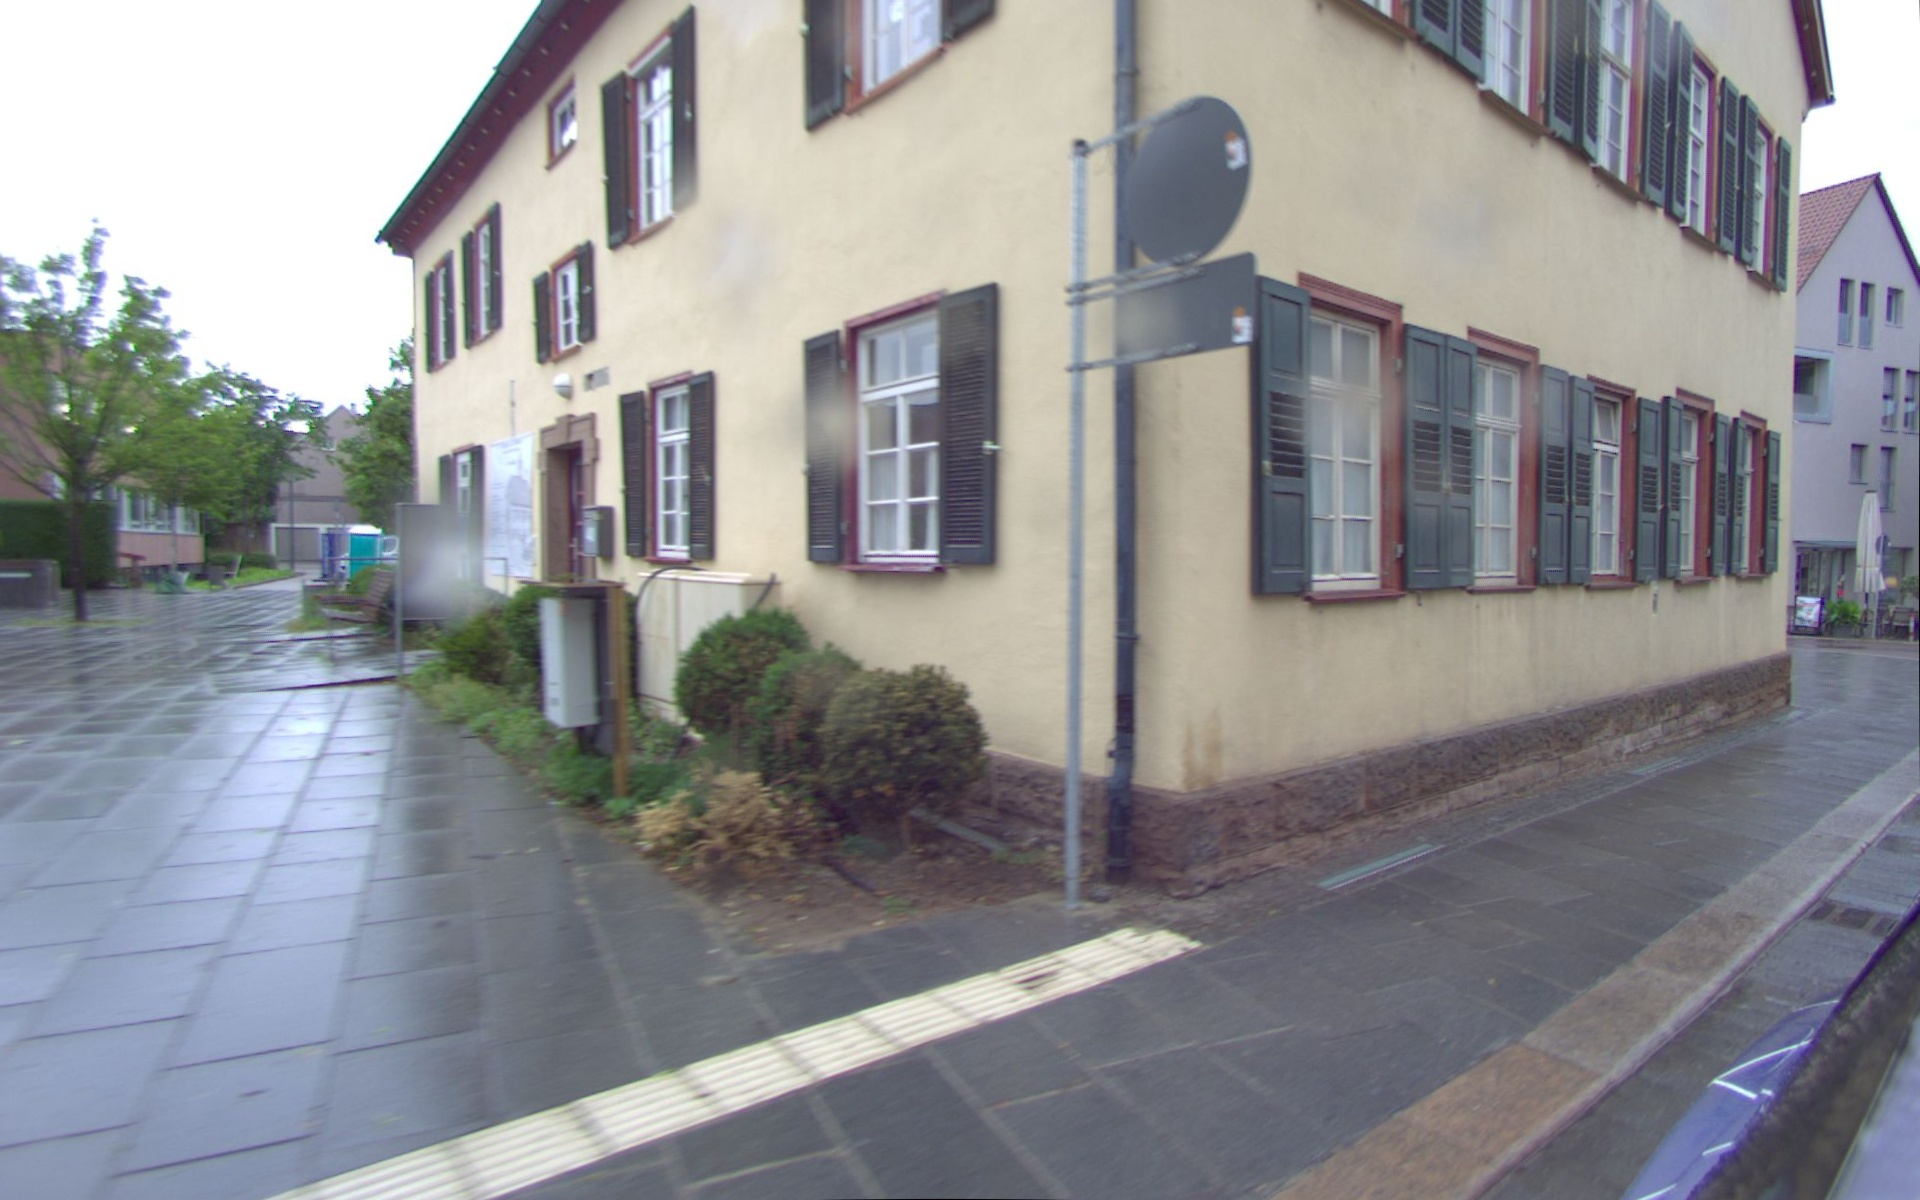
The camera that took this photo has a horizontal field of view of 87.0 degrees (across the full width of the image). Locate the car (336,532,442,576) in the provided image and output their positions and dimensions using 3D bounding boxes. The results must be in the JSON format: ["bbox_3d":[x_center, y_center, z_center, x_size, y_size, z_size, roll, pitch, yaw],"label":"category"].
[{"bbox_3d":[-24.866,-1.987,44.139,3.920,1.793,1.722,0,3,-31],"label":"car"}]
